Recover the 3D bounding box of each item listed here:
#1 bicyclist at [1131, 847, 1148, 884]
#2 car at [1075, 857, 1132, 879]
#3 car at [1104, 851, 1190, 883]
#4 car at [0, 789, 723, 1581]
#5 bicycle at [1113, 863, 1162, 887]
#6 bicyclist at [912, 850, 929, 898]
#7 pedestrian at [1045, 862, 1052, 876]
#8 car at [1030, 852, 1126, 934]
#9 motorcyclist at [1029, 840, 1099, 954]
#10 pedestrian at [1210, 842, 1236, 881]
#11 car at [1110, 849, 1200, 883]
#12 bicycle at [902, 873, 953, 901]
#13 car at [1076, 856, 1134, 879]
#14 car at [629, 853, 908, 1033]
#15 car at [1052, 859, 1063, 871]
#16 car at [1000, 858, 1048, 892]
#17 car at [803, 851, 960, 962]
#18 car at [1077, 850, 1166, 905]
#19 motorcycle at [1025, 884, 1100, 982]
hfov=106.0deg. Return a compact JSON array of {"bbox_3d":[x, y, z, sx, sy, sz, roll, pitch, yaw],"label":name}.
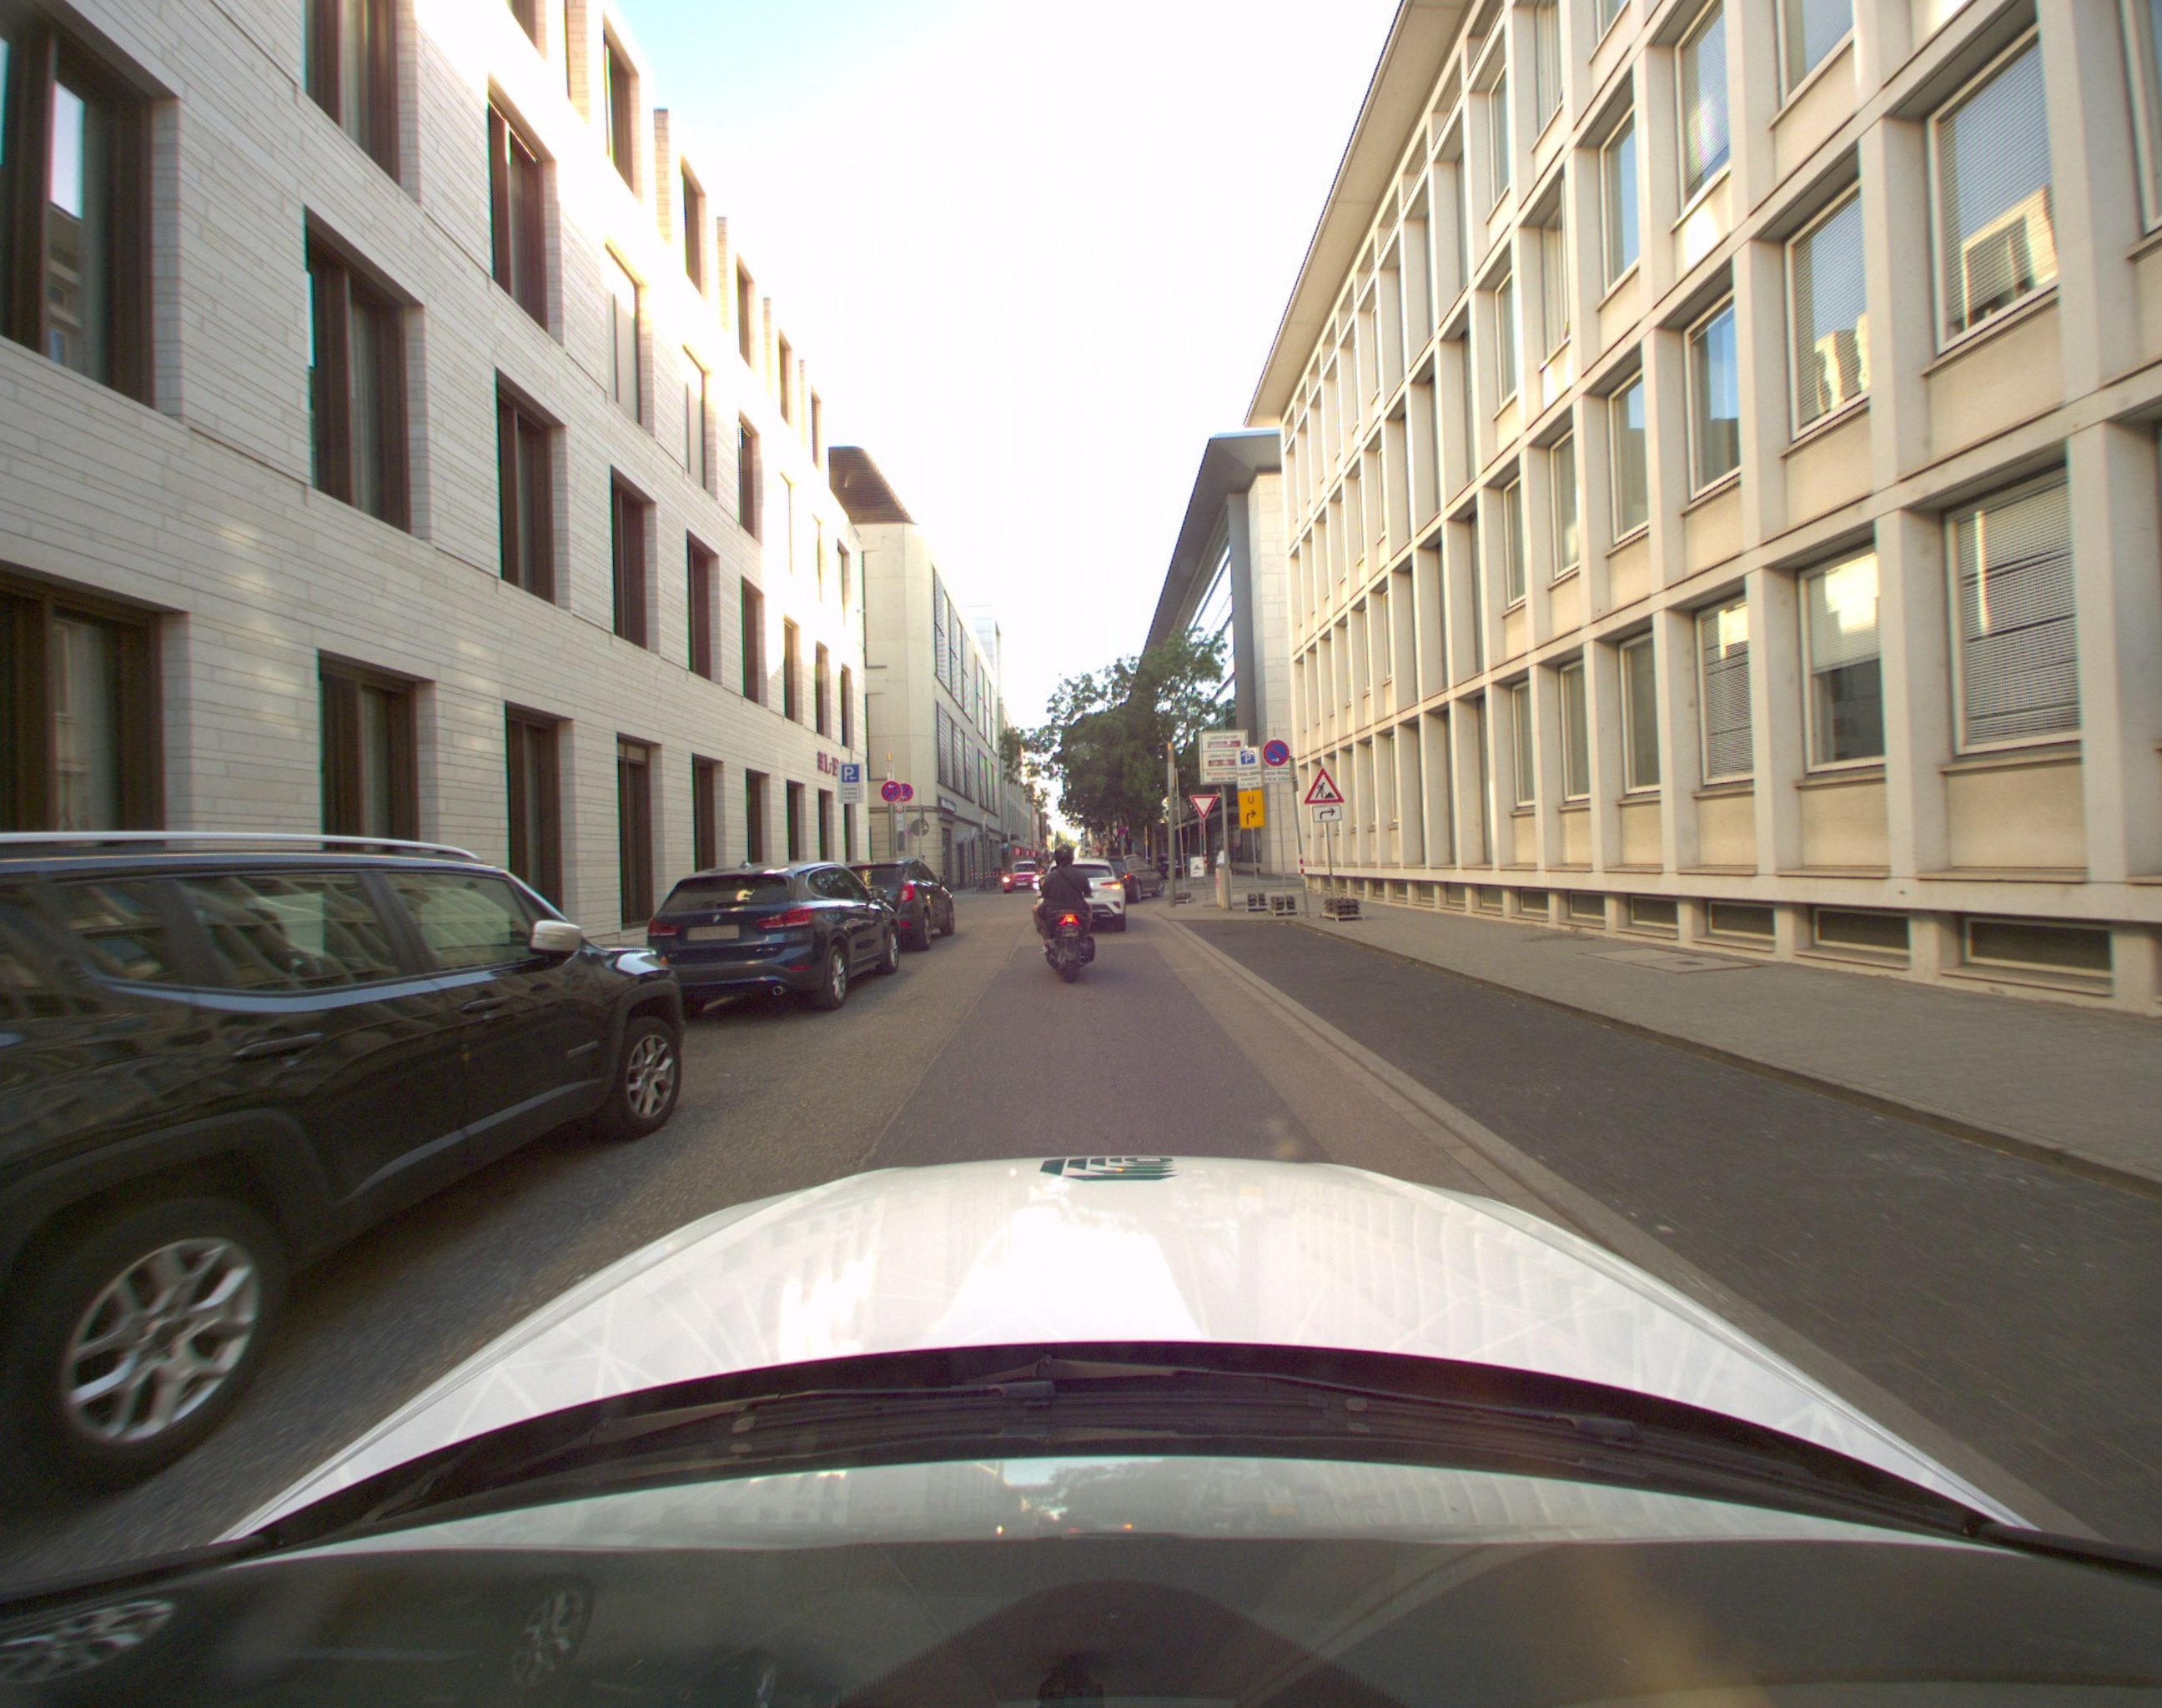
[{"bbox_3d":[2.569,0.511,35.730,0.628,1.625,0.497,-1,-1,-4],"label":"bicyclist"},{"bbox_3d":[2.059,1.273,74.909,4.993,1.499,1.998,-6,-1,-3],"label":"car"},{"bbox_3d":[4.069,0.818,50.585,4.993,1.499,1.998,-6,-1,-3],"label":"car"},{"bbox_3d":[-3.317,0.772,3.399,1.817,1.714,4.016,-4,0,-1],"label":"car"},{"bbox_3d":[2.476,0.905,35.709,2.097,0.995,0.518,-1,-1,-3],"label":"bicycle"},{"bbox_3d":[-5.912,0.730,29.997,0.551,1.732,0.499,-1,-1,-15],"label":"bicyclist"},{"bbox_3d":[-3.864,1.795,96.923,0.729,1.574,0.636,-1,-1,0],"label":"pedestrian"},{"bbox_3d":[-0.090,0.758,17.954,1.817,1.541,4.261,-2,0,-1],"label":"car"},{"bbox_3d":[-0.212,0.550,10.555,0.864,1.427,0.455,-1,-1,0],"label":"motorcyclist"},{"bbox_3d":[6.590,0.366,37.815,0.902,1.706,0.834,-5,-1,1],"label":"pedestrian"},{"bbox_3d":[4.351,0.709,48.168,4.993,1.451,1.998,-6,-1,-3],"label":"car"},{"bbox_3d":[-5.661,1.204,30.046,1.817,0.974,0.508,-1,-1,-15],"label":"bicycle"},{"bbox_3d":[2.105,1.212,72.428,4.993,1.499,1.998,-6,-1,-3],"label":"car"},{"bbox_3d":[-3.419,0.845,9.861,1.735,1.594,4.152,-4,0,-1],"label":"car"},{"bbox_3d":[-4.672,2.099,160.582,1.989,2.329,5.015,0,-1,-3],"label":"car"},{"bbox_3d":[-2.641,1.024,38.824,1.815,1.465,4.265,-2,-2,2],"label":"car"},{"bbox_3d":[-3.568,0.848,15.405,1.817,1.677,4.263,-4,0,0],"label":"car"},{"bbox_3d":[1.443,0.695,26.745,1.808,1.541,4.385,-2,1,18],"label":"car"},{"bbox_3d":[-0.203,0.963,10.554,0.869,1.109,1.840,-1,-1,1],"label":"motorcycle"}]
